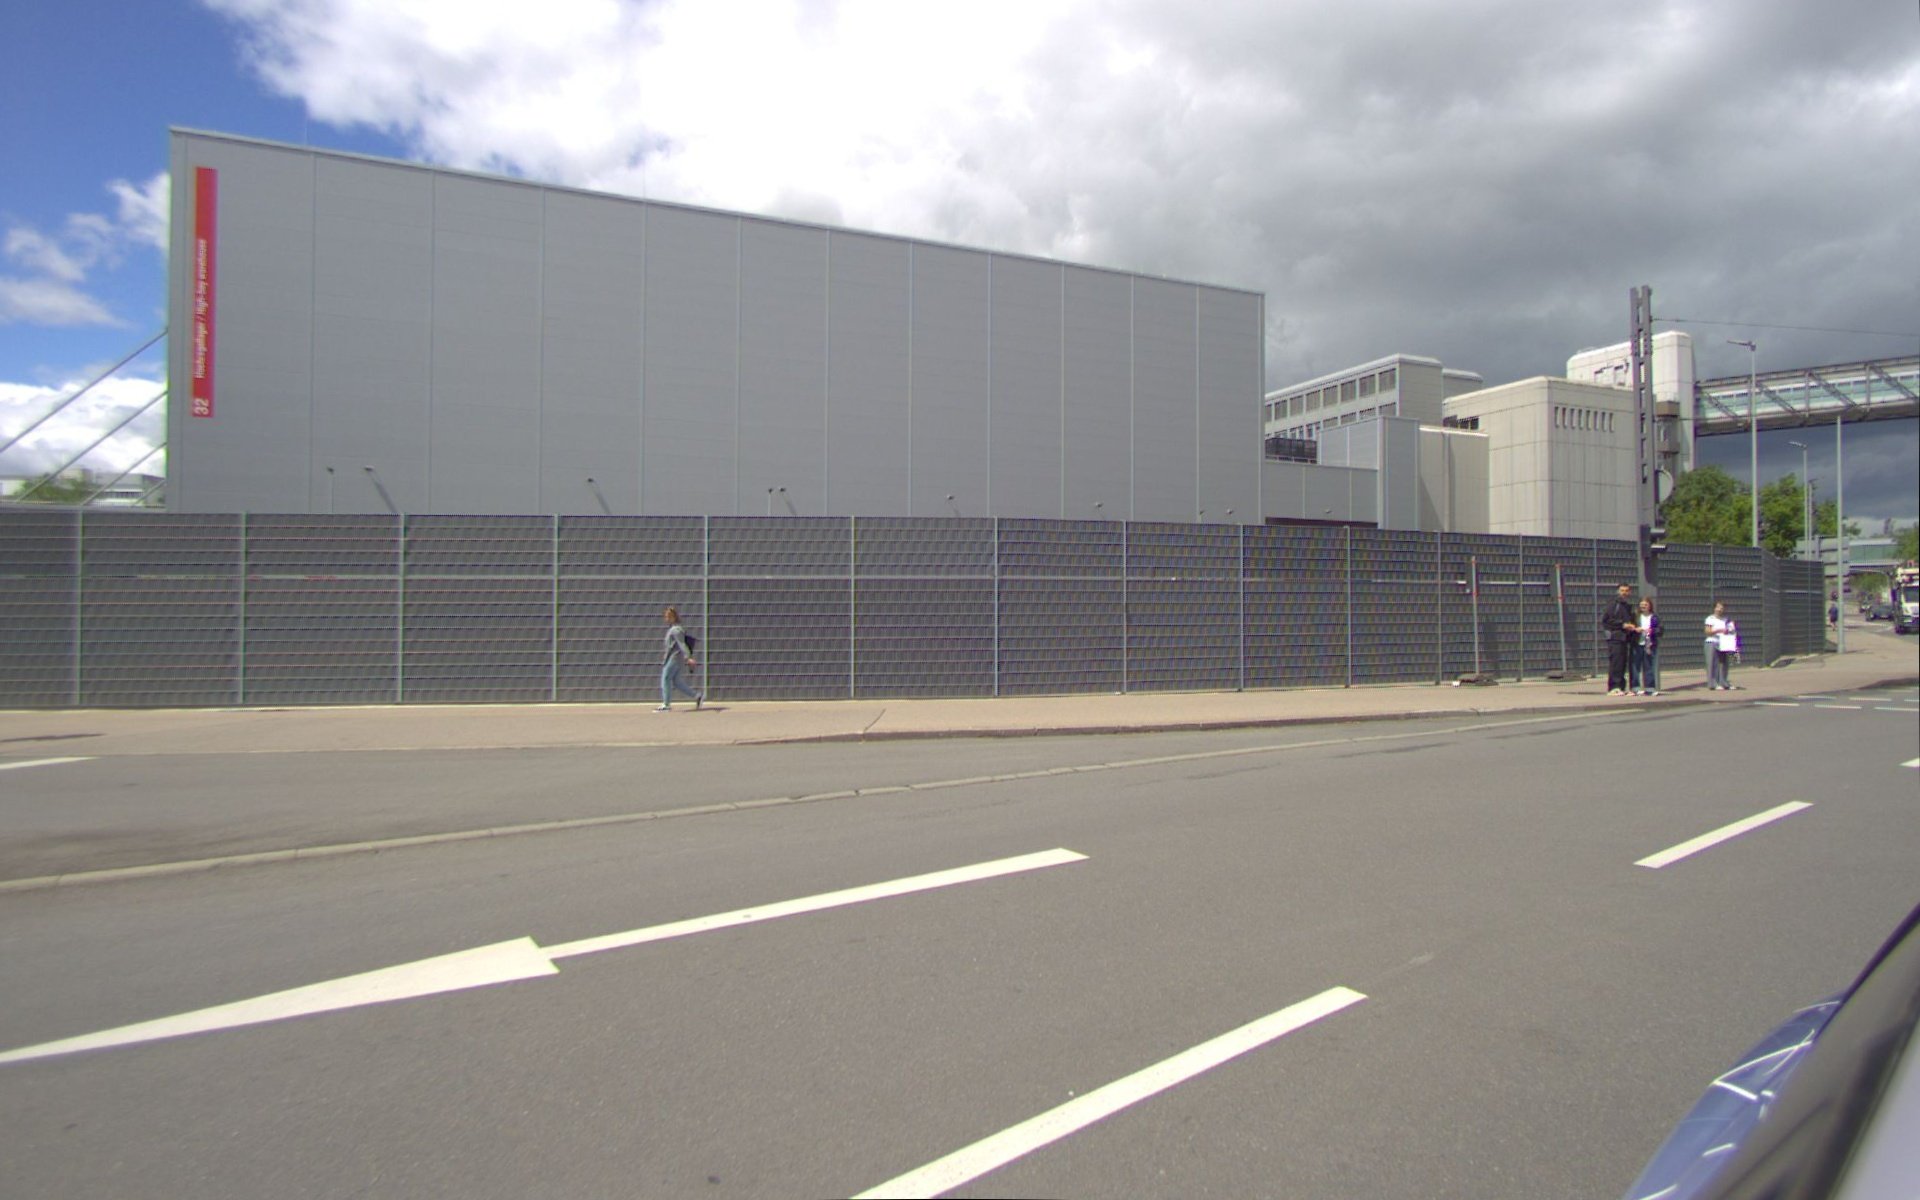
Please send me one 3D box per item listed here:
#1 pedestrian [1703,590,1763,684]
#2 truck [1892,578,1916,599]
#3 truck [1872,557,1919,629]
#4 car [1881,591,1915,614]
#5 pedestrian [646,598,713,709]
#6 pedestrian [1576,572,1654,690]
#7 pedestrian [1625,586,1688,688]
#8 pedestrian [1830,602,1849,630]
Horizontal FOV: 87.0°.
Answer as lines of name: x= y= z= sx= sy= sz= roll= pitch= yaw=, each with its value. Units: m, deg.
pedestrian: x=13.969 y=0.653 z=18.283 sx=0.808 sy=1.628 sz=0.660 roll=-1 pitch=-1 yaw=-40
truck: x=151.687 y=-1.856 z=162.627 sx=2.450 sy=3.169 sz=7.136 roll=-2 pitch=-1 yaw=41
truck: x=56.926 y=-0.442 z=59.879 sx=2.696 sy=3.935 sz=10.610 roll=-2 pitch=-1 yaw=34
car: x=85.980 y=0.197 z=92.836 sx=1.863 sy=1.980 sz=4.646 roll=-3 pitch=-1 yaw=39
pedestrian: x=-4.242 y=0.787 z=15.280 sx=0.902 sy=1.606 sz=0.697 roll=-1 pitch=-1 yaw=-19
pedestrian: x=10.808 y=0.501 z=16.718 sx=0.779 sy=1.890 sz=0.661 roll=-2 pitch=-1 yaw=2
pedestrian: x=11.456 y=0.602 z=16.662 sx=0.651 sy=1.636 sz=0.465 roll=-2 pitch=-1 yaw=3
pedestrian: x=55.792 y=1.004 z=64.217 sx=0.792 sy=1.742 sz=0.722 roll=-2 pitch=-1 yaw=35
